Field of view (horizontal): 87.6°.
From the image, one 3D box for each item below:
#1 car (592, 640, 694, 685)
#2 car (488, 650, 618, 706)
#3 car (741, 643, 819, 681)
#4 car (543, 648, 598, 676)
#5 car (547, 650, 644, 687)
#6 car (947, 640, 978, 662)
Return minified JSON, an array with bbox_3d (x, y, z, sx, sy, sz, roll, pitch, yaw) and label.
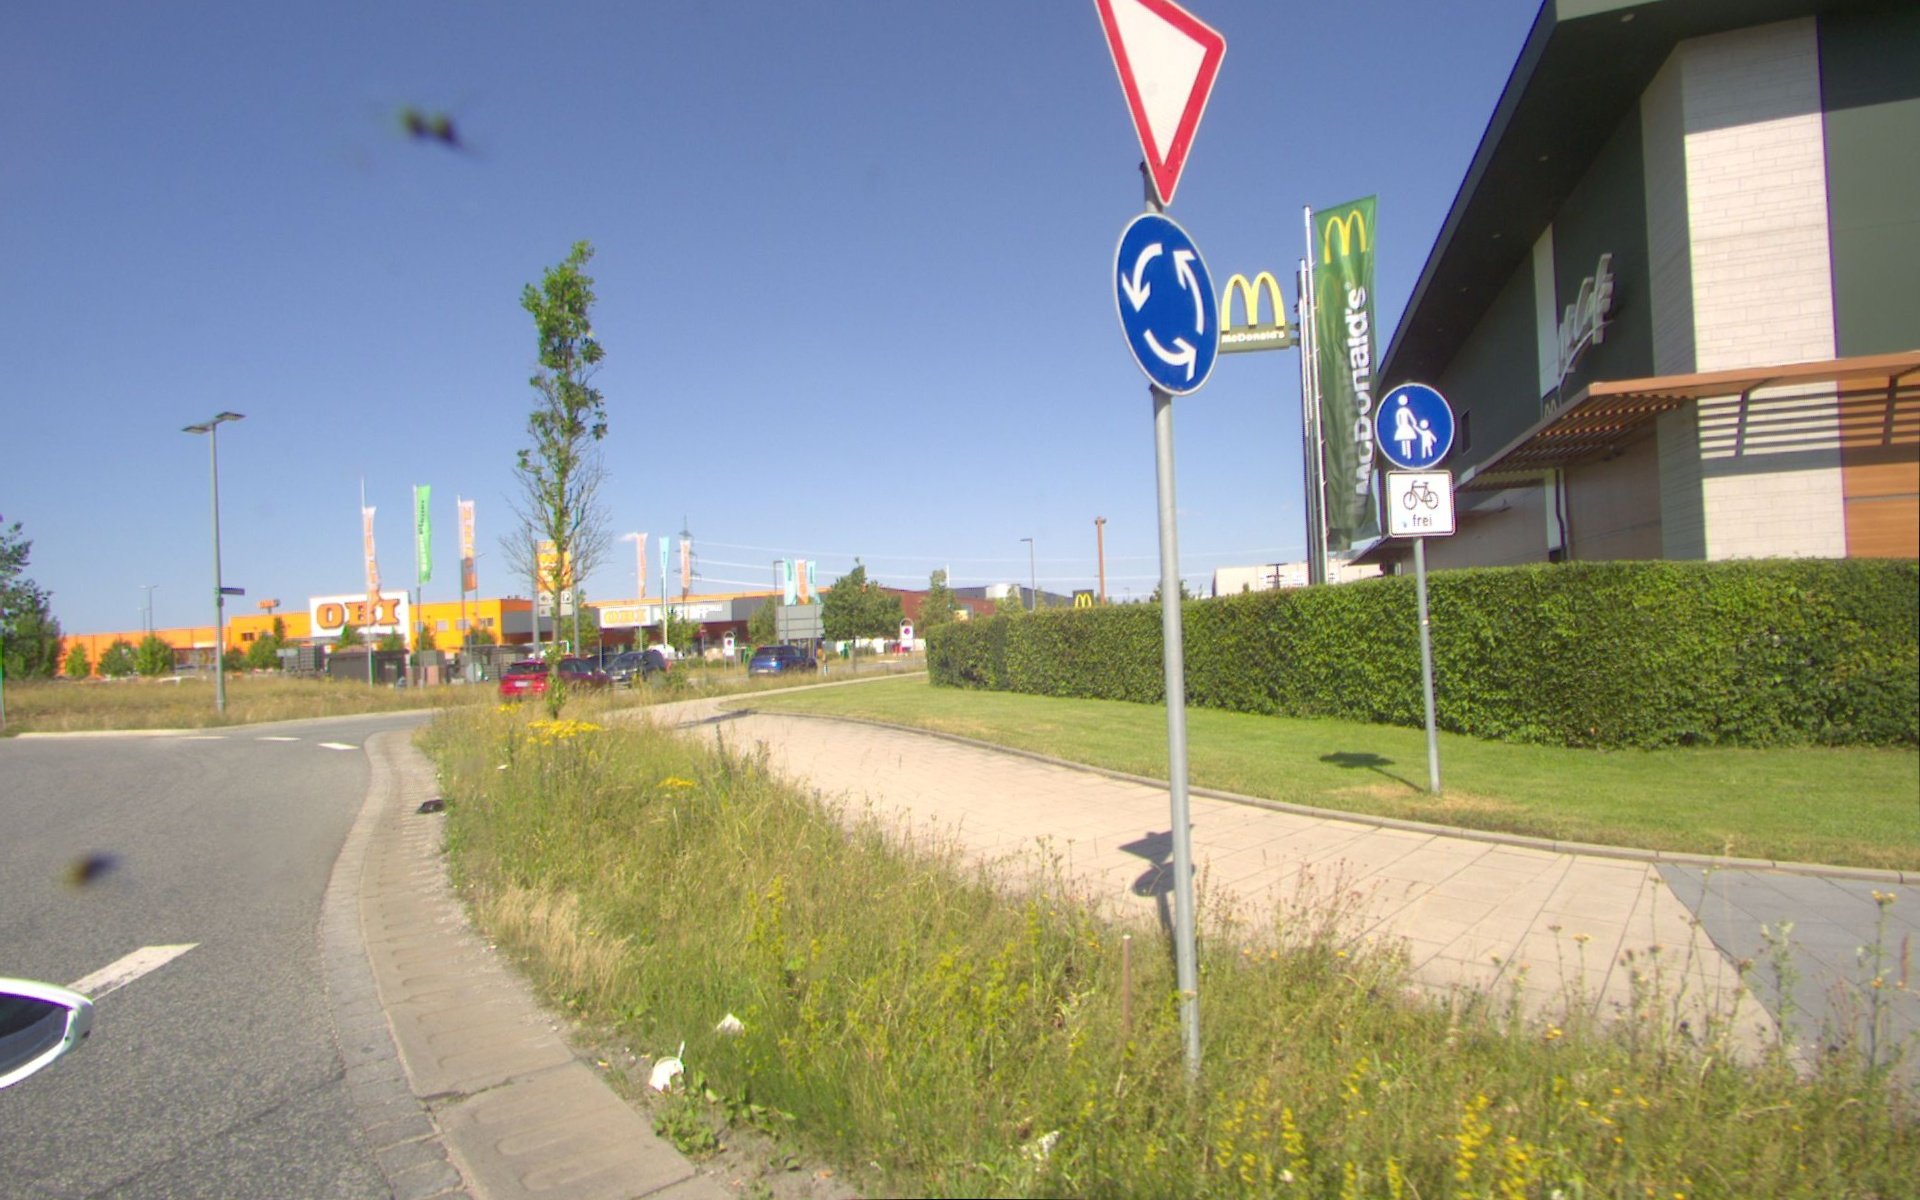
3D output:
[{"bbox_3d":[-13.994,2.725,44.479,1.923,1.727,4.622,-4,-3,17],"label":"car"},{"bbox_3d":[-11.808,2.238,29.355,1.773,1.434,4.119,-1,-2,6],"label":"car"},{"bbox_3d":[-8.165,2.797,45.837,1.824,1.656,4.076,-2,-3,18],"label":"car"},{"bbox_3d":[-26.848,4.285,69.154,1.669,1.863,3.775,-3,-4,13],"label":"car"},{"bbox_3d":[-19.572,3.691,53.788,4.619,1.647,2.074,-5,-3,21],"label":"car"},{"bbox_3d":[0.230,3.751,74.031,1.487,1.459,3.348,-3,-2,15],"label":"car"}]
